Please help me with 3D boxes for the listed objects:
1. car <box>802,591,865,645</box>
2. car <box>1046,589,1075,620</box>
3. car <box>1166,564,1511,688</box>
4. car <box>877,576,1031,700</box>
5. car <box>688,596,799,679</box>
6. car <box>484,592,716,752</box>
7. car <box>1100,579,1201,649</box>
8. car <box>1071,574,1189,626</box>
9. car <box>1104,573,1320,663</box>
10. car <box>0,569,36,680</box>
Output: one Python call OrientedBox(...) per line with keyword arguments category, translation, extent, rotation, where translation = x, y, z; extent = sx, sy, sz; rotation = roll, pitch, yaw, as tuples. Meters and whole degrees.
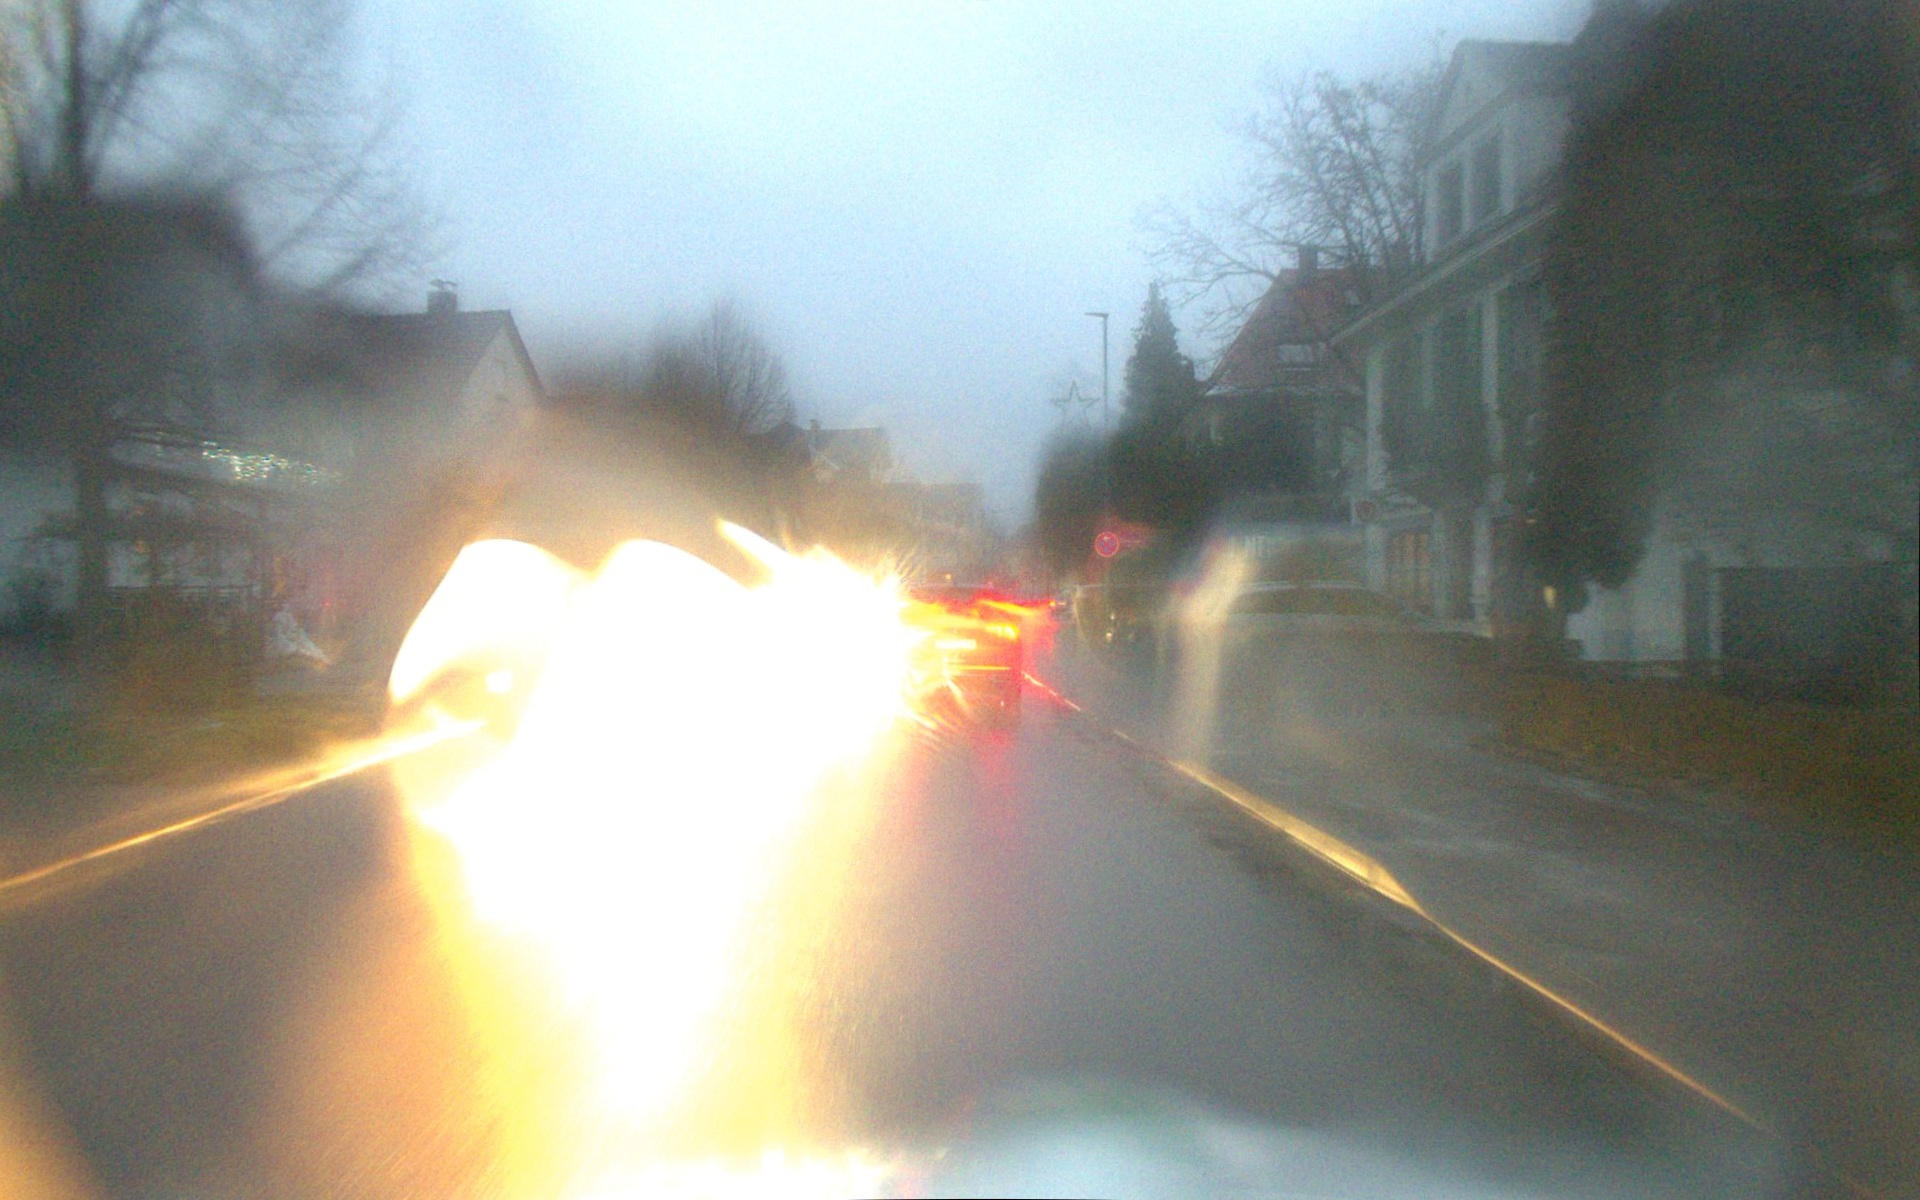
OrientedBox(category="car", translation=(-4.147, 0.557, 54.740), extent=(1.777, 1.661, 4.224), rotation=(-1, 0, -1))
OrientedBox(category="car", translation=(6.981, 0.296, 114.945), extent=(1.952, 2.049, 4.002), rotation=(-1, 1, 4))
OrientedBox(category="car", translation=(5.379, 0.357, 24.018), extent=(4.634, 1.658, 1.908), rotation=(-1, 0, 4))
OrientedBox(category="car", translation=(-0.129, 0.472, 22.973), extent=(1.953, 1.552, 3.999), rotation=(1, 0, -2))
OrientedBox(category="car", translation=(-4.204, 0.681, 32.697), extent=(1.669, 1.466, 4.423), rotation=(-2, 0, -2))
OrientedBox(category="car", translation=(-3.714, 0.681, 17.724), extent=(1.669, 1.466, 3.999), rotation=(-2, 0, -2))
OrientedBox(category="car", translation=(4.468, 0.294, 39.494), extent=(1.854, 1.581, 4.755), rotation=(0, 0, 0))
OrientedBox(category="car", translation=(6.441, -0.001, 62.953), extent=(4.234, 1.762, 2.000), rotation=(-3, 0, 0))
OrientedBox(category="car", translation=(4.993, 0.364, 33.155), extent=(4.019, 1.736, 1.999), rotation=(0, -1, -2))
OrientedBox(category="car", translation=(-18.106, 0.429, 27.551), extent=(4.455, 1.831, 1.913), rotation=(0, 0, 7))
